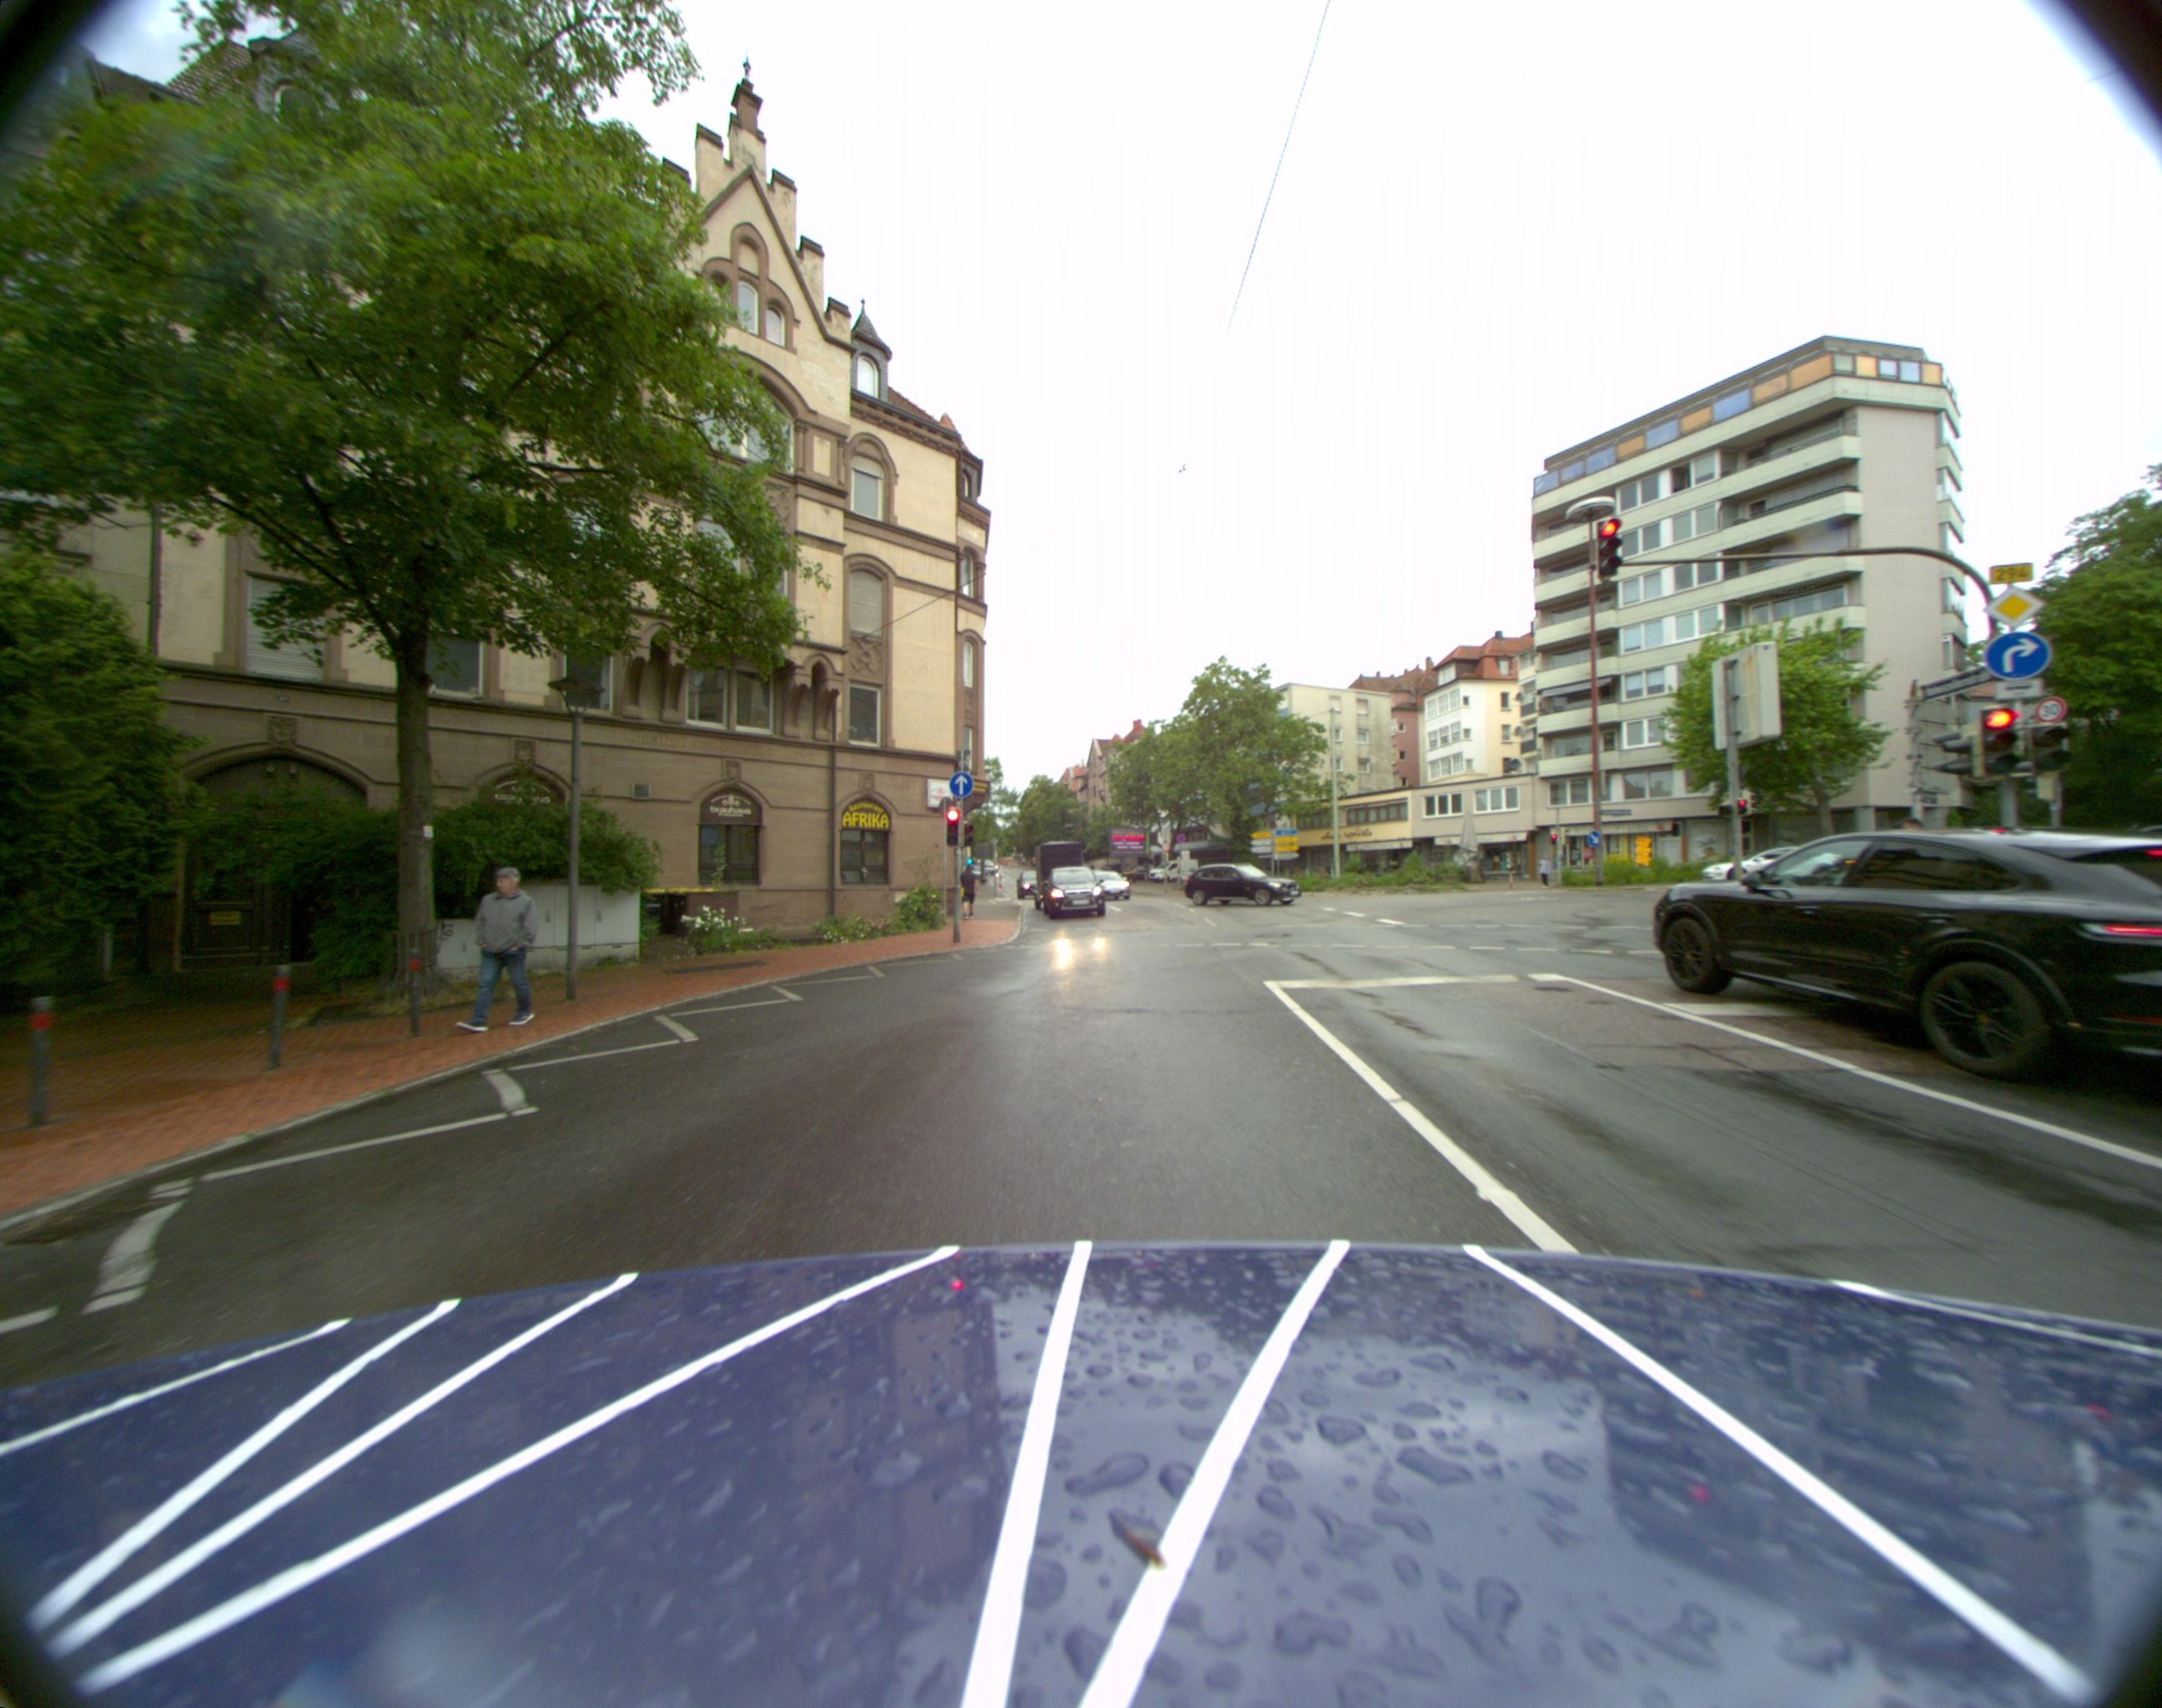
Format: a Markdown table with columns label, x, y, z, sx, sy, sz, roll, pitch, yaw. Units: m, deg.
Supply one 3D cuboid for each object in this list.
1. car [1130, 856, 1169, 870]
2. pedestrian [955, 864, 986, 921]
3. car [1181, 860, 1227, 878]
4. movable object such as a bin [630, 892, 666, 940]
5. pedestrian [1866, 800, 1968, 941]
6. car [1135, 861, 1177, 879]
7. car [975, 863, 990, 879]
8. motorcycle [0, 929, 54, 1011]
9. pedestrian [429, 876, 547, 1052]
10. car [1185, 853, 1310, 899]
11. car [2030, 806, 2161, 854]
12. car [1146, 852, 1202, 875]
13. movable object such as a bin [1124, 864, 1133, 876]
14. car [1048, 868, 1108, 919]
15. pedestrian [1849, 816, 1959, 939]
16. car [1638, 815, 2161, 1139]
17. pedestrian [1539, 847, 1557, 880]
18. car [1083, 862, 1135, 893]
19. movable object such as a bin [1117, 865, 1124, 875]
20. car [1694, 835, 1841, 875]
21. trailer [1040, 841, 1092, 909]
| label | x | y | z | sx | sy | sz | roll | pitch | yaw |
| --- | --- | --- | --- | --- | --- | --- | --- | --- | --- |
| car | 7.265 | 0.958 | 80.464 | 3.842 | 1.397 | 1.687 | -2 | 1 | -30 |
| pedestrian | -3.310 | 1.135 | 22.799 | 0.830 | 1.669 | 0.893 | 0 | 0 | -4 |
| car | 10.866 | 1.295 | 67.191 | 3.711 | 1.408 | 1.807 | -3 | 1 | -34 |
| movable object such as a bin | -9.904 | 1.407 | 17.383 | 0.560 | 1.059 | 0.541 | -3 | 0 | -42 |
| pedestrian | 10.978 | 0.214 | 10.000 | 0.523 | 1.763 | 0.694 | -3 | 0 | 6 |
| car | 7.636 | 1.585 | 77.091 | 3.841 | 1.680 | 1.802 | -2 | 1 | -28 |
| car | -11.285 | 1.875 | 86.652 | 1.527 | 1.608 | 3.490 | 3 | 1 | -9 |
| motorcycle | -16.660 | 1.781 | 10.888 | 0.553 | 1.181 | 2.202 | -3 | 0 | 22 |
| pedestrian | -6.231 | 1.119 | 8.003 | 0.572 | 1.723 | 0.733 | -3 | 0 | 26 |
| car | 6.057 | 0.828 | 27.961 | 1.761 | 1.526 | 4.204 | -2 | -1 | -42 |
| car | 35.980 | -0.840 | 25.990 | 4.015 | 1.482 | 1.770 | -3 | -2 | 22 |
| car | 8.849 | 0.852 | 72.168 | 4.983 | 1.966 | 1.876 | -3 | 1 | -29 |
| movable object such as a bin | 4.501 | 1.480 | 71.656 | 0.644 | 1.073 | 0.627 | -2 | 1 | -12 |
| car | -0.105 | 1.279 | 25.637 | 1.862 | 1.503 | 3.682 | -1 | 0 | -1 |
| pedestrian | 11.995 | 0.333 | 11.100 | 0.638 | 1.692 | 0.829 | -3 | 0 | 2 |
| car | 6.923 | 0.576 | 6.052 | 1.968 | 1.683 | 4.809 | -1 | 1 | 8 |
| pedestrian | 23.692 | 0.480 | 38.550 | 0.618 | 1.683 | 0.626 | -1 | 1 | 42 |
| car | 1.373 | 1.177 | 39.152 | 1.758 | 1.474 | 4.177 | -2 | -1 | -11 |
| movable object such as a bin | 3.725 | 1.541 | 71.780 | 0.485 | 0.896 | 0.545 | -2 | 1 | -12 |
| car | 30.008 | 0.057 | 33.395 | 4.383 | 1.482 | 1.917 | -3 | 0 | 21 |
| trailer | -0.700 | 0.837 | 32.044 | 1.939 | 2.621 | 4.683 | -2 | 0 | -3 |
